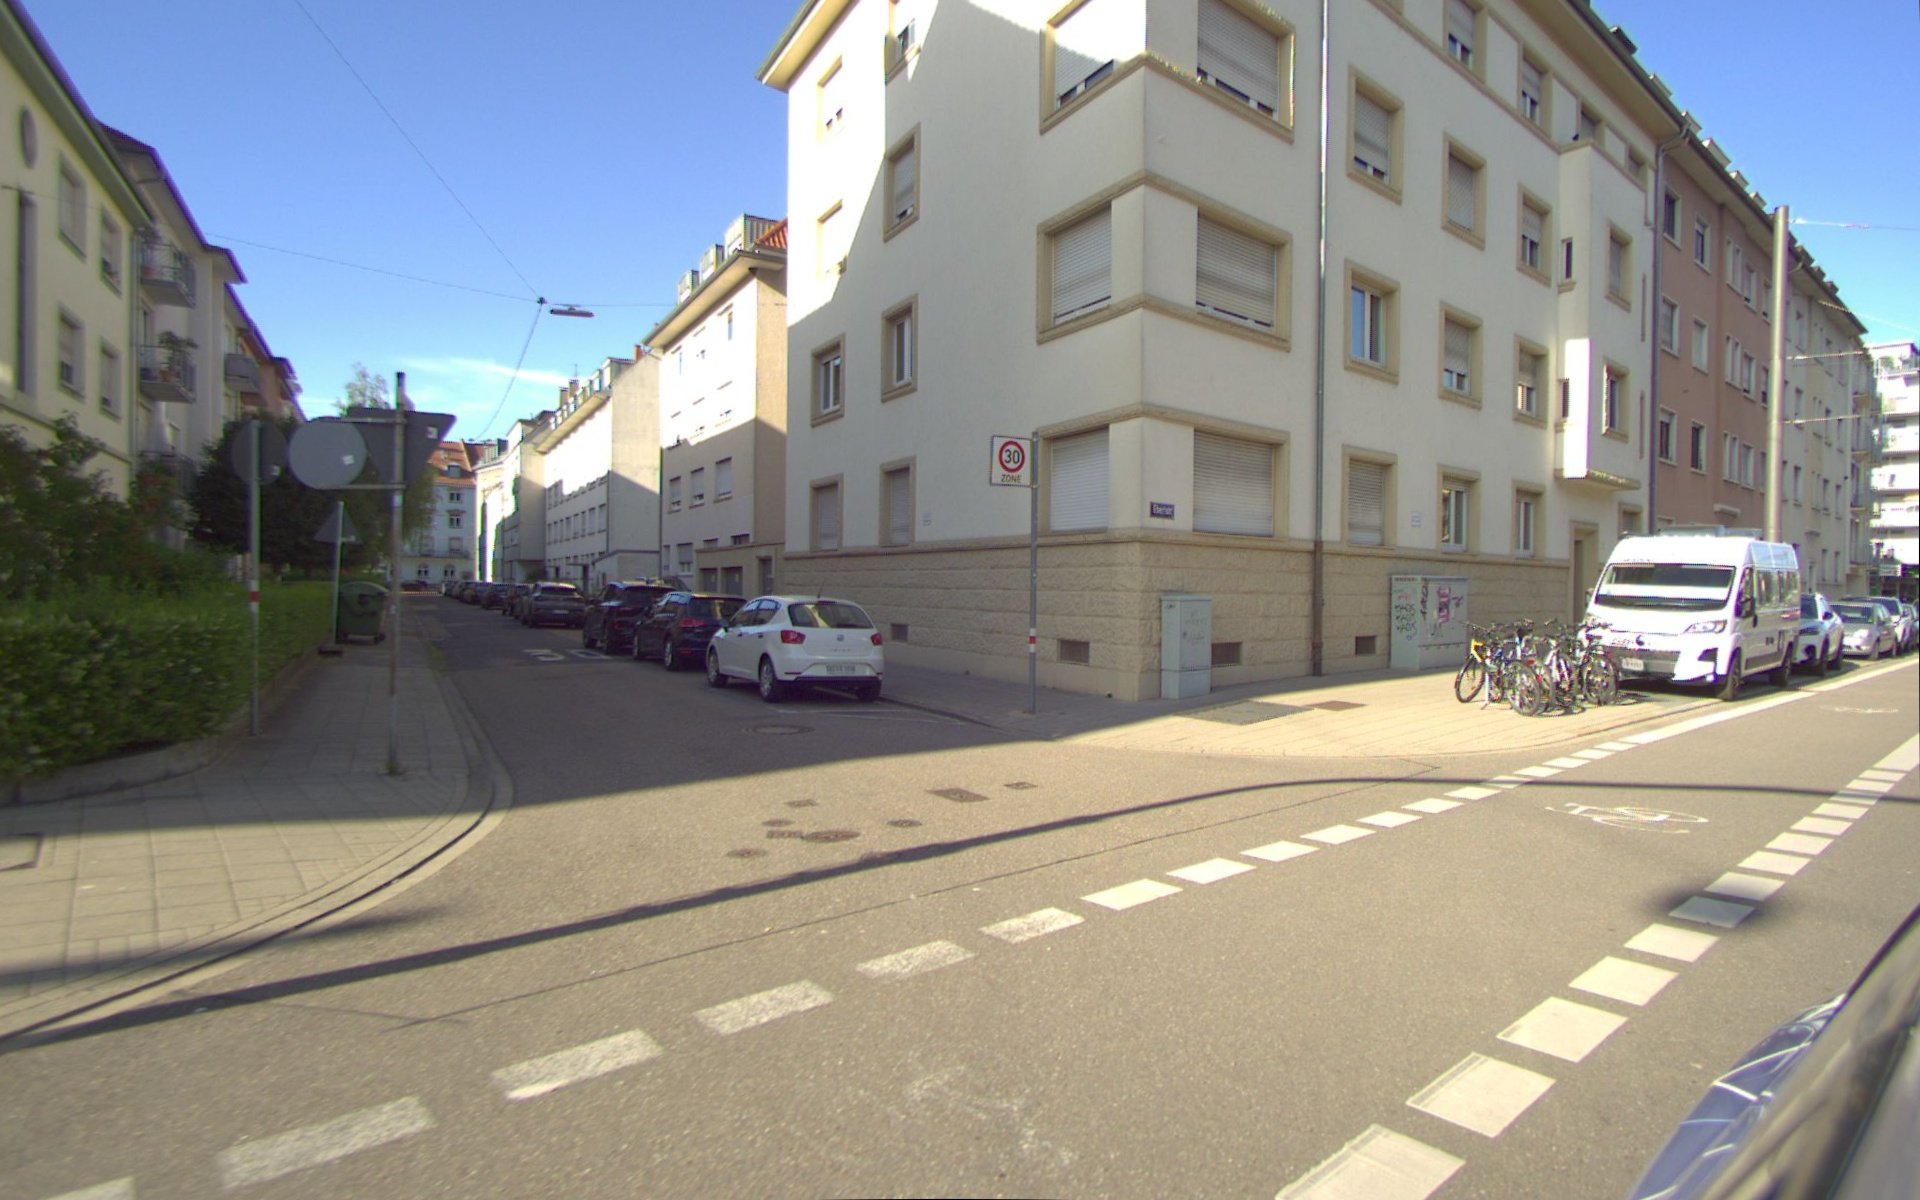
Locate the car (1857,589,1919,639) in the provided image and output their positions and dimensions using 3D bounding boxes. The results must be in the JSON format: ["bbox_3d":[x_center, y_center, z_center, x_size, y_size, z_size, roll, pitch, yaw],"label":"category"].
[{"bbox_3d":[31.404,0.454,33.775,4.083,1.497,1.748,0,4,-43],"label":"car"}]

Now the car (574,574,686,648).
[{"bbox_3d":[-7.774,0.288,23.604,1.678,1.567,4.135,0,-2,-30],"label":"car"}]

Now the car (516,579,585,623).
[{"bbox_3d":[-14.652,0.070,36.116,1.765,1.481,3.999,0,-2,-30],"label":"car"}]

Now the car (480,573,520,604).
[{"bbox_3d":[-25.611,-0.606,56.294,1.651,1.540,3.860,0,-2,-30],"label":"car"}]

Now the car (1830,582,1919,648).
[{"bbox_3d":[27.457,0.427,30.126,4.414,1.718,1.804,1,3,-43],"label":"car"}]

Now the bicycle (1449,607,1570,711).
[{"bbox_3d":[6.835,0.693,12.687,0.465,1.100,1.917,3,2,2],"label":"bicycle"}]

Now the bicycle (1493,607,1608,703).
[{"bbox_3d":[7.818,0.689,13.494,0.465,1.100,1.917,-2,2,2],"label":"bicycle"}]

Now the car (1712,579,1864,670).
[{"bbox_3d":[17.425,0.451,21.218,4.497,1.657,1.850,0,2,-43],"label":"car"}]

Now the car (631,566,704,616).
[{"bbox_3d":[-11.237,-0.308,38.669,1.777,1.738,3.999,0,-2,-30],"label":"car"}]

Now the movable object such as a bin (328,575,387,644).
[{"bbox_3d":[-14.151,0.227,23.765,1.169,1.579,1.062,0,-2,-32],"label":"movable object such as a bin"}]

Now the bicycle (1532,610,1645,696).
[{"bbox_3d":[8.666,0.701,14.055,0.478,1.101,2.024,-1,-1,7],"label":"bicycle"}]

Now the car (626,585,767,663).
[{"bbox_3d":[-5.235,0.462,19.725,1.678,1.355,3.975,0,-2,-30],"label":"car"}]

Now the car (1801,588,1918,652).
[{"bbox_3d":[23.742,0.490,26.671,3.981,1.478,1.626,1,3,-39],"label":"car"}]

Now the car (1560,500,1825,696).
[{"bbox_3d":[12.418,-0.080,16.933,6.182,2.729,2.155,0,3,-41],"label":"car"}]

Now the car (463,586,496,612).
[{"bbox_3d":[-31.340,-0.055,65.931,1.651,1.540,3.860,0,-2,-30],"label":"car"}]

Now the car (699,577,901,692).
[{"bbox_3d":[-2.448,0.481,14.712,1.678,1.443,3.744,0,-2,-30],"label":"car"}]
